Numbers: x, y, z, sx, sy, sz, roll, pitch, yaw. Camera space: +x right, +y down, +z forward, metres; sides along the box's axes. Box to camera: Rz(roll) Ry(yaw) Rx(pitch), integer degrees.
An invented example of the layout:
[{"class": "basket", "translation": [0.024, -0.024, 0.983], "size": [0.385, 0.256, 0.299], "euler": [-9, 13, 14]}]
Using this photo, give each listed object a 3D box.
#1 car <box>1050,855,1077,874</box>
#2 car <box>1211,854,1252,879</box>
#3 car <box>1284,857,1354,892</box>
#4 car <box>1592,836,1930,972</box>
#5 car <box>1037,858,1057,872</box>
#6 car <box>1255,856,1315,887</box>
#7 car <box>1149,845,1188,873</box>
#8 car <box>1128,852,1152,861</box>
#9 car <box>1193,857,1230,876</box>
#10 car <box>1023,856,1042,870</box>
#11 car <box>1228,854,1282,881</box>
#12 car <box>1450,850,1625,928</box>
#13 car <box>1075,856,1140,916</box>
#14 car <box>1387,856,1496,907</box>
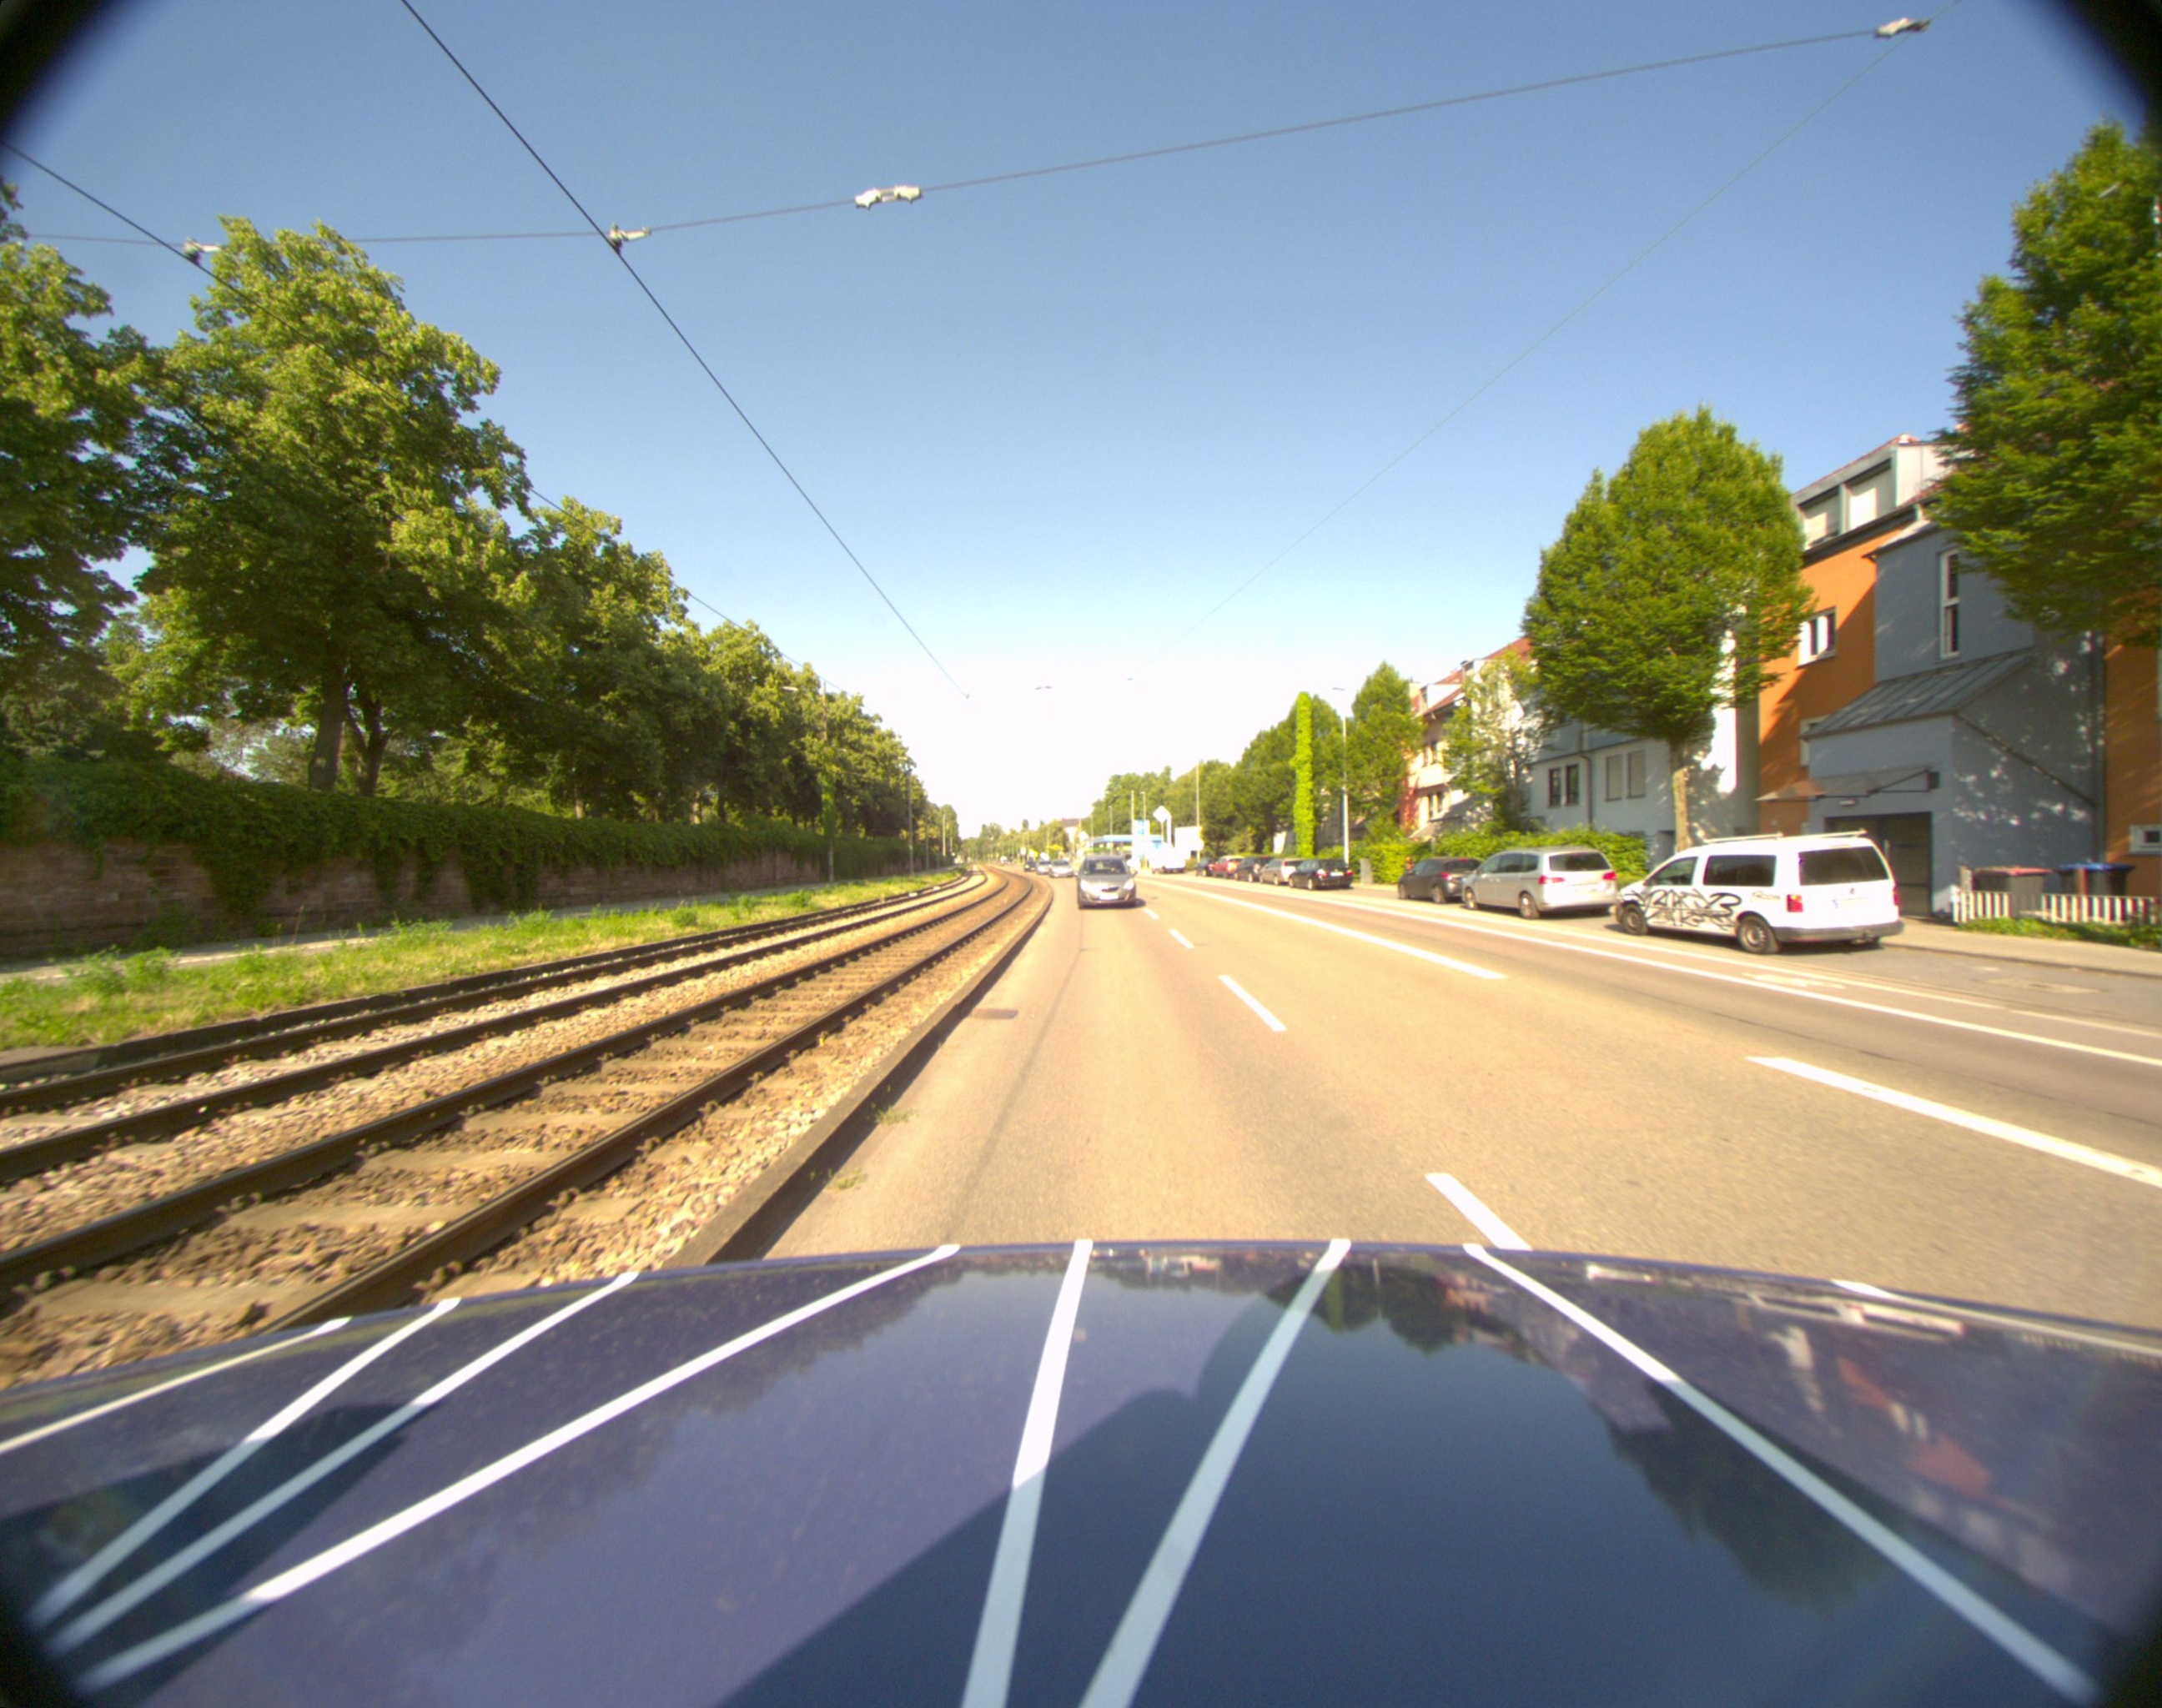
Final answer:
[{"class": "car", "translation": [-1.488, 0.867, 62.960], "size": [1.711, 1.487, 3.997], "euler": [-2, 0, -8]}, {"class": "car", "translation": [10.551, 0.847, 53.612], "size": [1.768, 1.565, 4.159], "euler": [-1, 1, -5]}, {"class": "car", "translation": [11.331, 0.929, 36.467], "size": [1.714, 1.463, 4.909], "euler": [-3, 0, 0]}, {"class": "car", "translation": [11.533, 0.736, 13.452], "size": [1.767, 1.835, 4.580], "euler": [-5, 0, 0]}, {"class": "car", "translation": [-3.390, 1.057, 75.540], "size": [1.579, 1.306, 3.997], "euler": [-2, 0, -9]}, {"class": "car", "translation": [11.279, 0.913, 42.383], "size": [1.717, 1.463, 4.842], "euler": [-3, 1, -4]}, {"class": "car", "translation": [8.441, 0.480, 73.794], "size": [2.159, 2.443, 6.179], "euler": [-3, 0, -8]}, {"class": "car", "translation": [12.525, 0.472, 161.474], "size": [5.085, 1.929, 1.857], "euler": [0, 0, -3]}, {"class": "car", "translation": [10.060, 0.941, 58.926], "size": [1.657, 1.416, 4.711], "euler": [-1, 0, -5]}, {"class": "car", "translation": [-6.097, 1.115, 95.191], "size": [1.711, 1.581, 3.996], "euler": [-2, 0, -11]}, {"class": "car", "translation": [10.880, 0.811, 47.733], "size": [1.768, 1.565, 4.434], "euler": [-2, 0, -8]}, {"class": "car", "translation": [11.531, 0.785, 19.652], "size": [1.672, 1.691, 4.824], "euler": [-3, 0, 2]}, {"class": "car", "translation": [0.740, 0.883, 22.694], "size": [1.730, 1.574, 3.763], "euler": [-2, 0, 0]}, {"class": "car", "translation": [11.783, 0.835, 25.152], "size": [1.620, 1.457, 4.058], "euler": [-2, 0, 0]}]
